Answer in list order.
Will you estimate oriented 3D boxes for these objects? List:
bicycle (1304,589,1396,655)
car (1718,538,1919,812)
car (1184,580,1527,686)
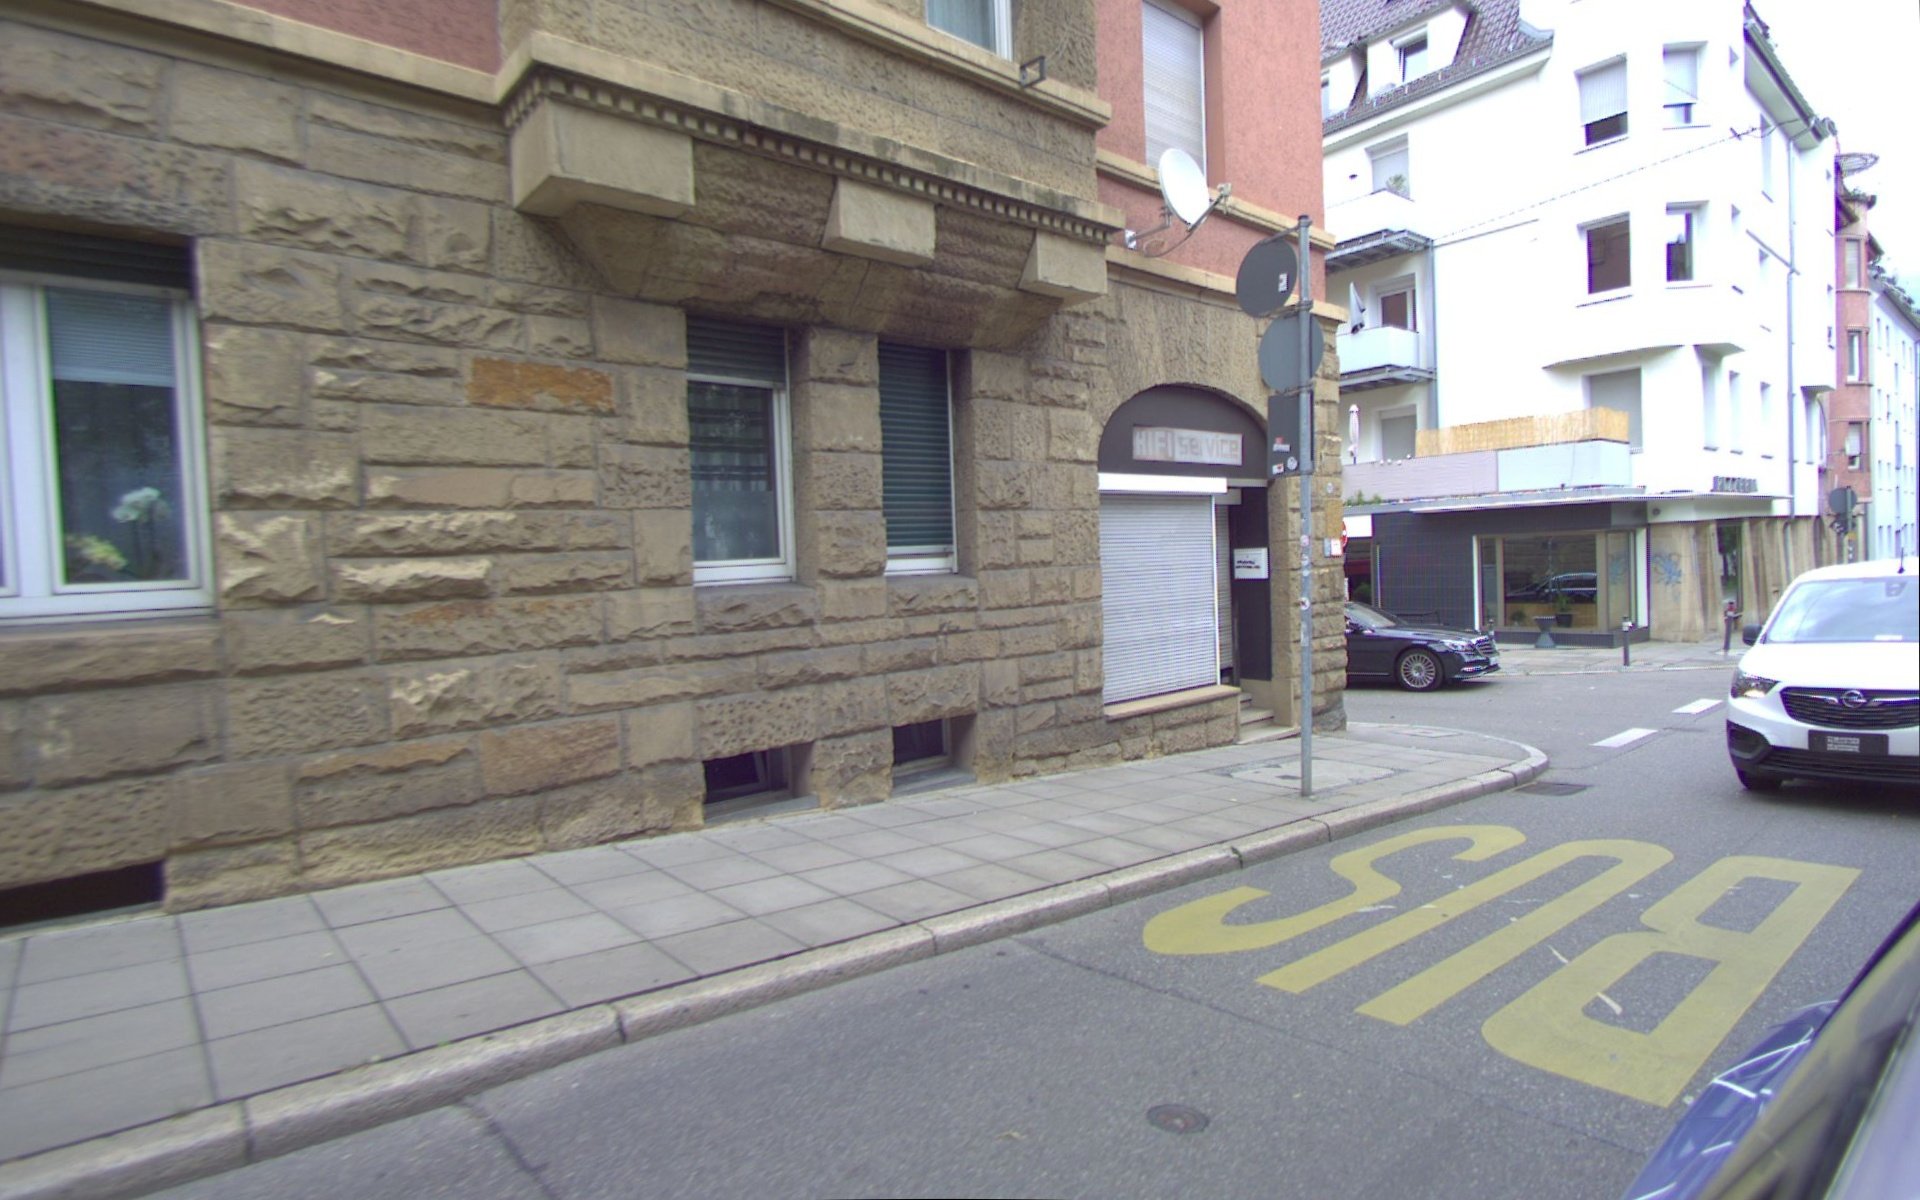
[{"bbox_3d":[7.467,0.419,19.399,1.495,1.167,0.625,-1,3,41],"label":"bicycle"},{"bbox_3d":[8.309,0.419,8.426,4.929,1.848,1.854,-3,0,-37],"label":"car"},{"bbox_3d":[6.768,0.590,17.787,5.126,1.570,2.203,-4,-1,45],"label":"car"}]
